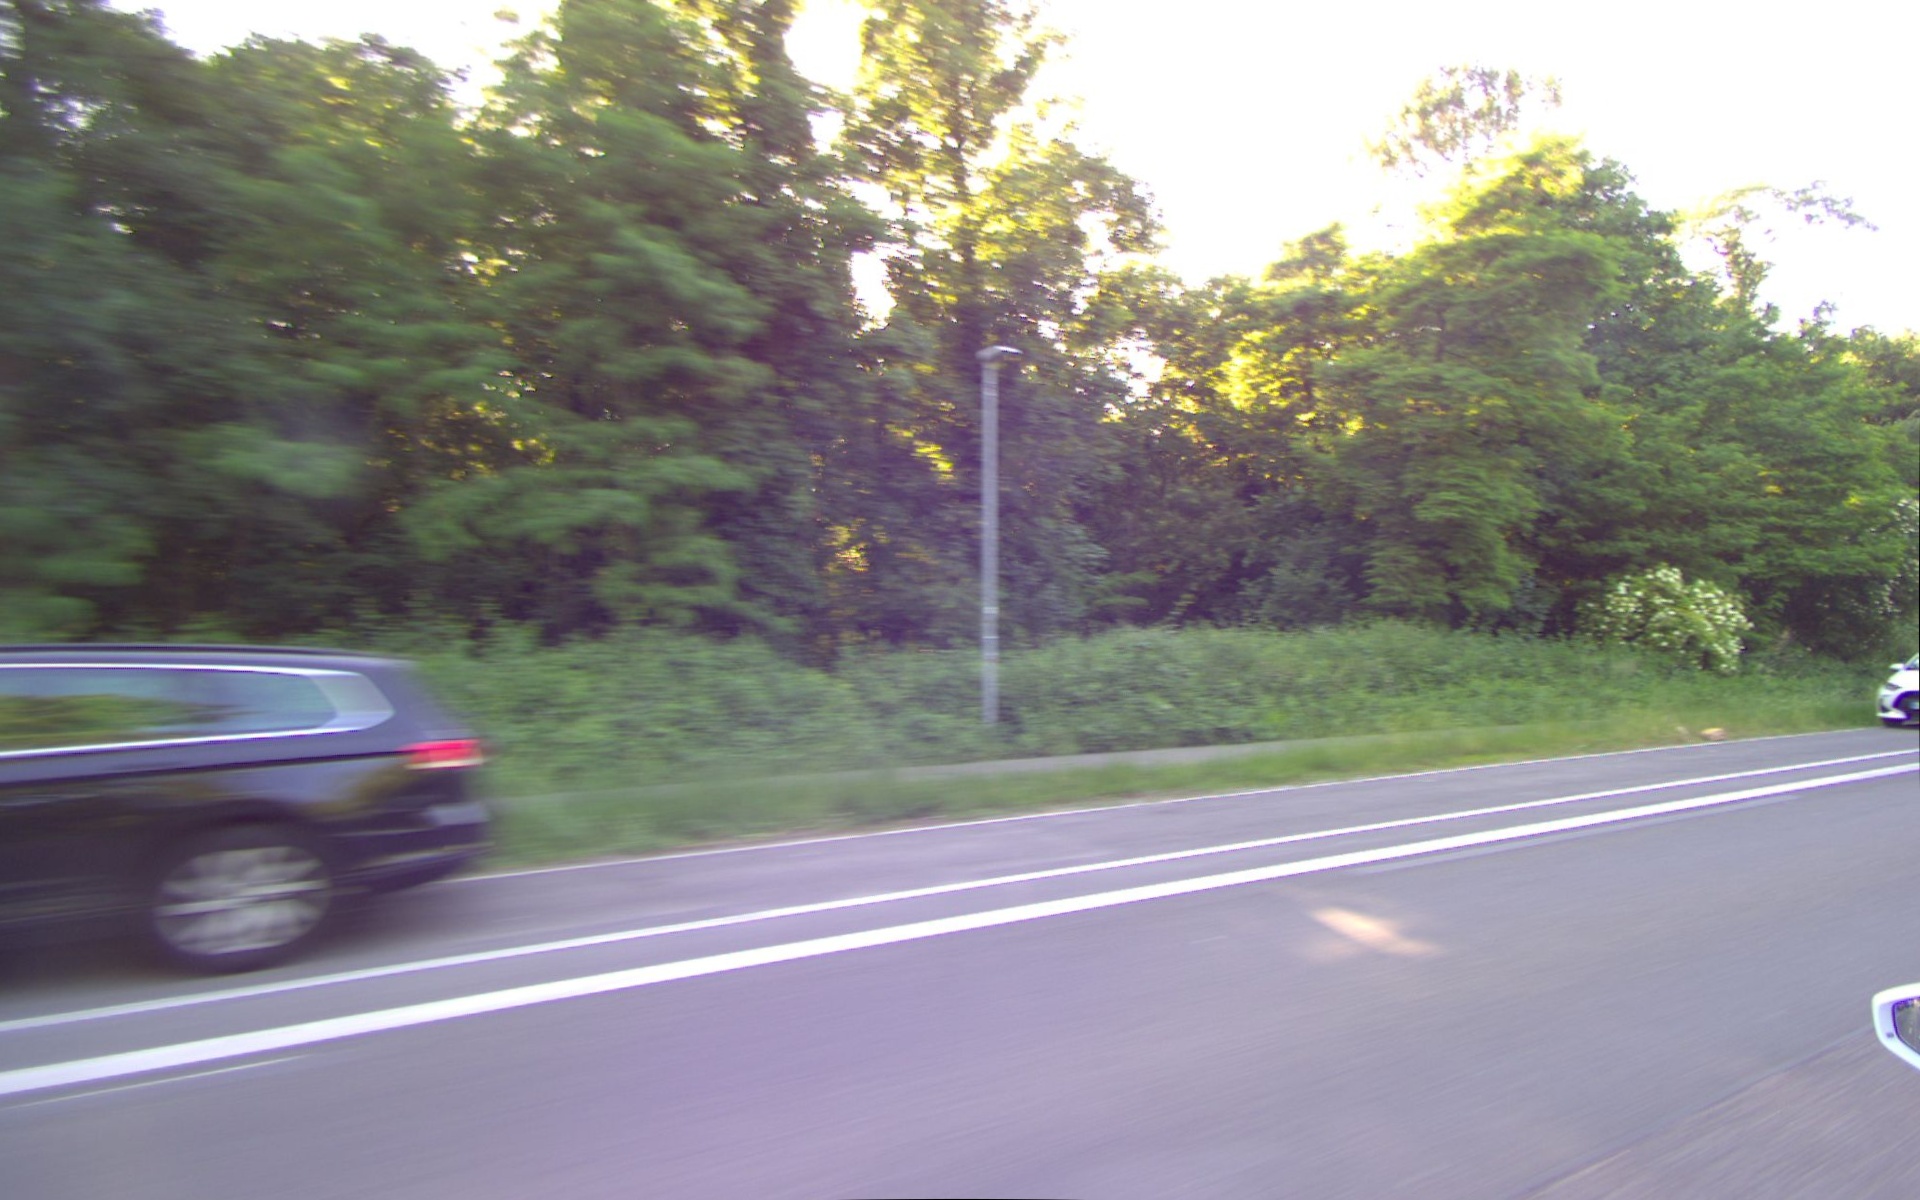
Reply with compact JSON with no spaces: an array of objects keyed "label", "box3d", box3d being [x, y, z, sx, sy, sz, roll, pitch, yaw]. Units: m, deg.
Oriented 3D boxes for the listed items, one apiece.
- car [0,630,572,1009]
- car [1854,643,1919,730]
[{"label":"car","box3d":[-4.467,0.895,4.695,4.728,1.484,1.846,1,-1,-30]},{"label":"car","box3d":[18.070,1.513,18.016,4.023,1.469,1.859,1,-4,-30]}]
